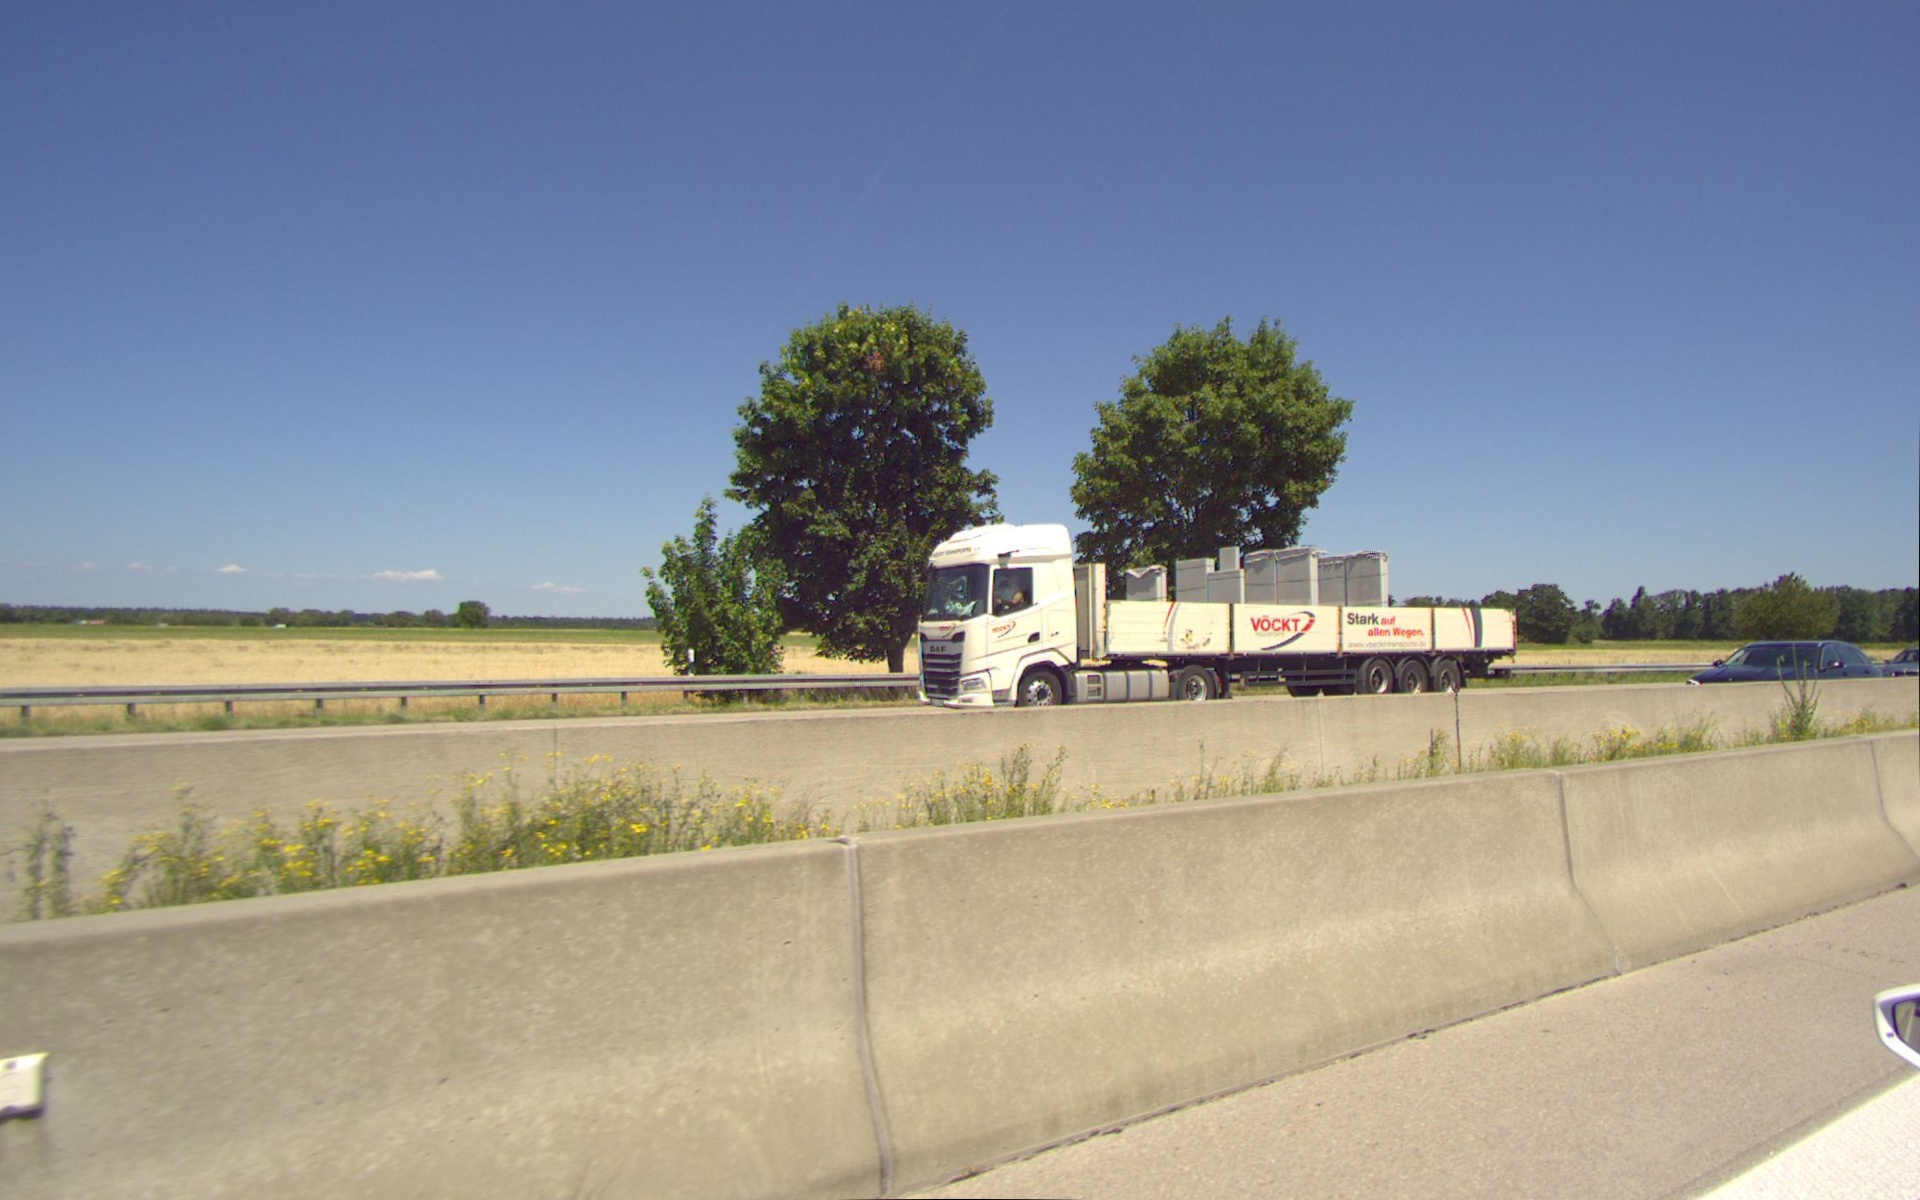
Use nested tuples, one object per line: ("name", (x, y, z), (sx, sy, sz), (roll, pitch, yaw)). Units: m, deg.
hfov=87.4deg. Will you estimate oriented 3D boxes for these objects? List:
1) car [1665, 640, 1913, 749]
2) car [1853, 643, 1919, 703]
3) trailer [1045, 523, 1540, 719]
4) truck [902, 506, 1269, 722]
("car", (15.713, 1.679, 18.979), (4.965, 1.740, 1.984), (2, 0, -30))
("car", (30.606, 2.272, 31.699), (5.062, 1.740, 1.956), (2, 0, -28))
("trailer", (8.411, 0.554, 23.761), (13.587, 3.733, 2.790), (2, 0, -30))
("truck", (2.659, 0.320, 20.418), (7.151, 3.736, 2.790), (2, 0, -30))
